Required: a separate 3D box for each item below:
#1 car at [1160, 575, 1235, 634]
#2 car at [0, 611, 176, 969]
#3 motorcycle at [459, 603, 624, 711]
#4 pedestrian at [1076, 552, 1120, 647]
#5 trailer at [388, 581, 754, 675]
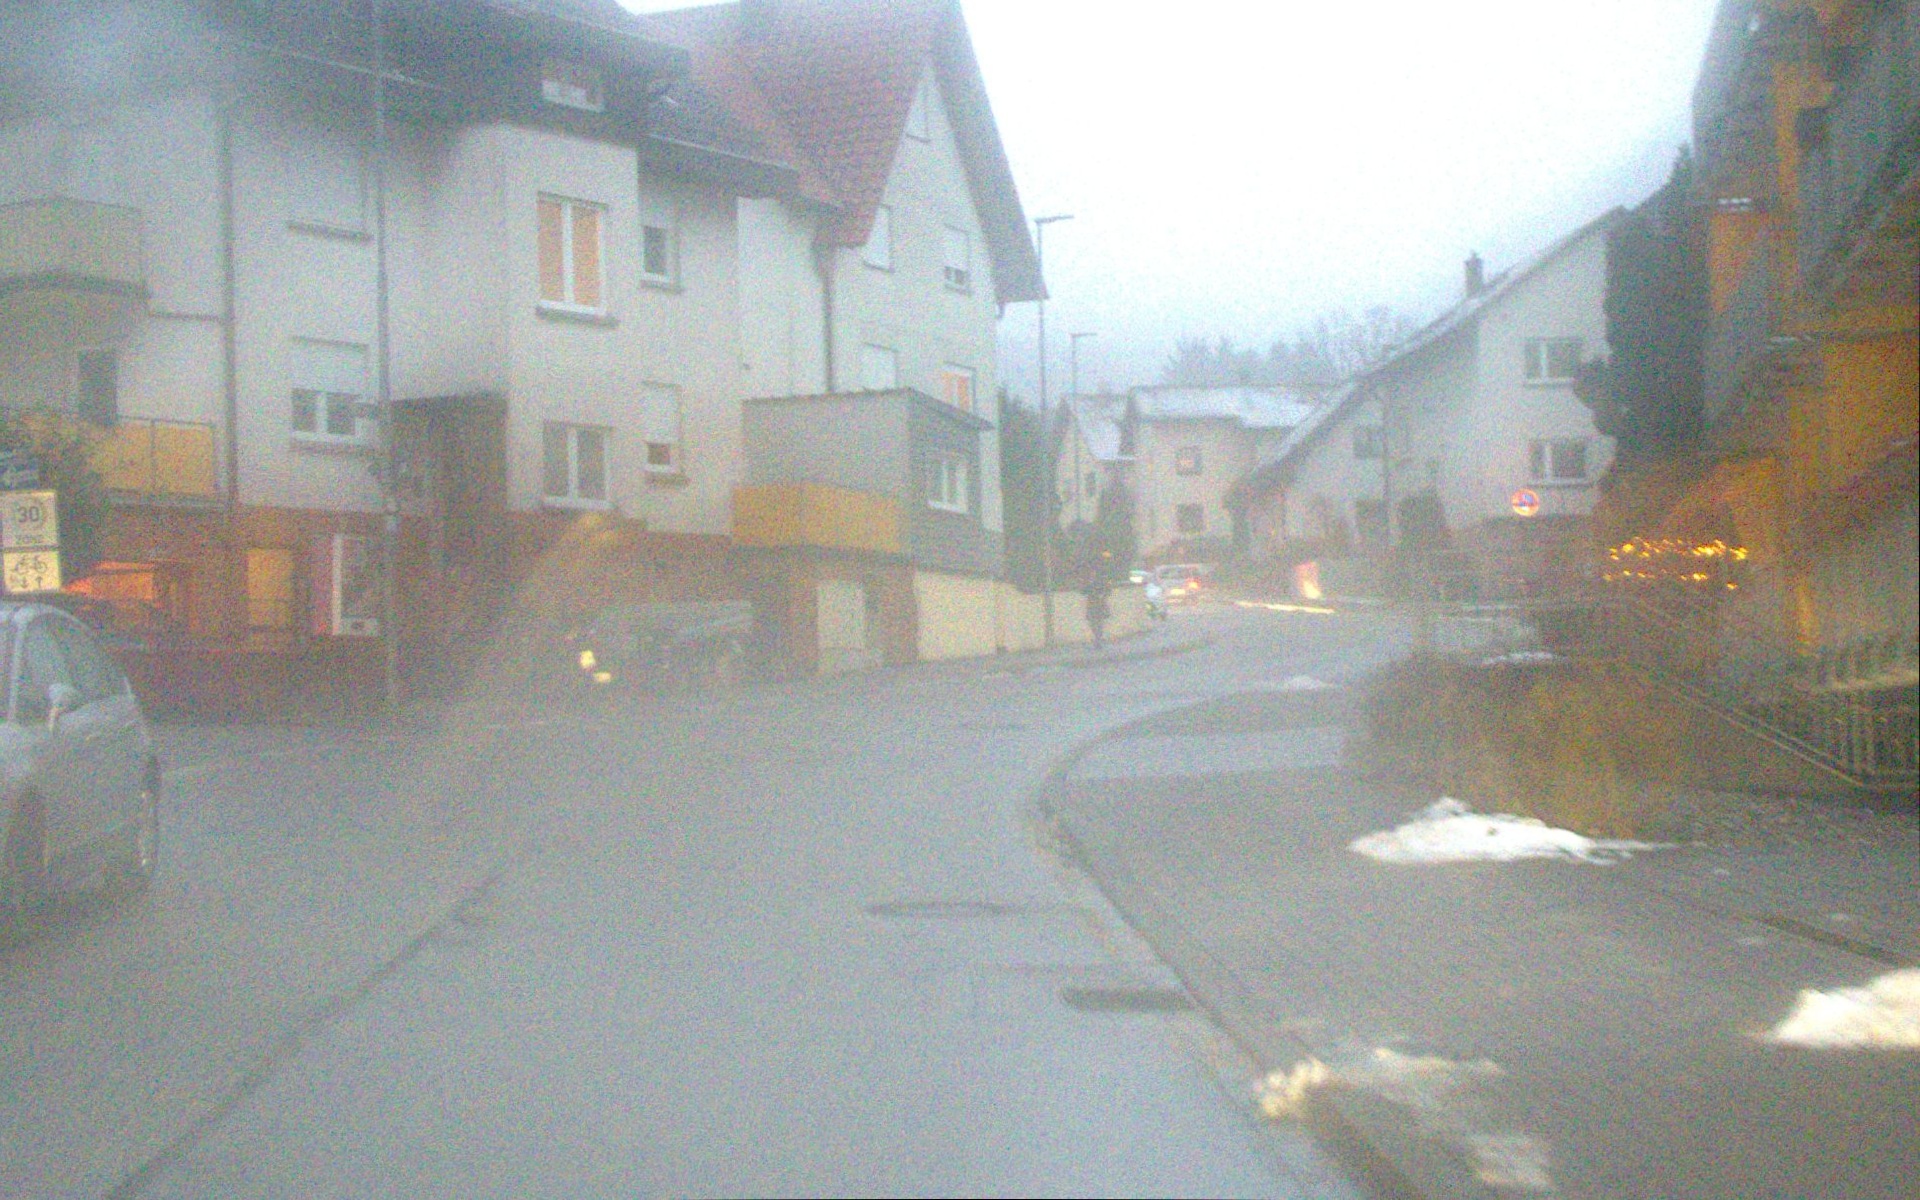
[{"bbox_3d":[8.733,0.156,126.122,2.111,2.020,4.980,-2,0,11],"label":"car"},{"bbox_3d":[-4.776,0.764,15.419,1.748,1.384,4.147,0,0,-3],"label":"car"},{"bbox_3d":[-5.234,0.694,42.899,1.054,1.294,2.238,0,0,-38],"label":"motorcycle"},{"bbox_3d":[2.548,-0.006,63.423,0.598,1.727,0.811,0,-1,18],"label":"pedestrian"},{"bbox_3d":[-5.061,0.400,45.375,2.062,1.165,4.857,-1,-1,36],"label":"trailer"}]
